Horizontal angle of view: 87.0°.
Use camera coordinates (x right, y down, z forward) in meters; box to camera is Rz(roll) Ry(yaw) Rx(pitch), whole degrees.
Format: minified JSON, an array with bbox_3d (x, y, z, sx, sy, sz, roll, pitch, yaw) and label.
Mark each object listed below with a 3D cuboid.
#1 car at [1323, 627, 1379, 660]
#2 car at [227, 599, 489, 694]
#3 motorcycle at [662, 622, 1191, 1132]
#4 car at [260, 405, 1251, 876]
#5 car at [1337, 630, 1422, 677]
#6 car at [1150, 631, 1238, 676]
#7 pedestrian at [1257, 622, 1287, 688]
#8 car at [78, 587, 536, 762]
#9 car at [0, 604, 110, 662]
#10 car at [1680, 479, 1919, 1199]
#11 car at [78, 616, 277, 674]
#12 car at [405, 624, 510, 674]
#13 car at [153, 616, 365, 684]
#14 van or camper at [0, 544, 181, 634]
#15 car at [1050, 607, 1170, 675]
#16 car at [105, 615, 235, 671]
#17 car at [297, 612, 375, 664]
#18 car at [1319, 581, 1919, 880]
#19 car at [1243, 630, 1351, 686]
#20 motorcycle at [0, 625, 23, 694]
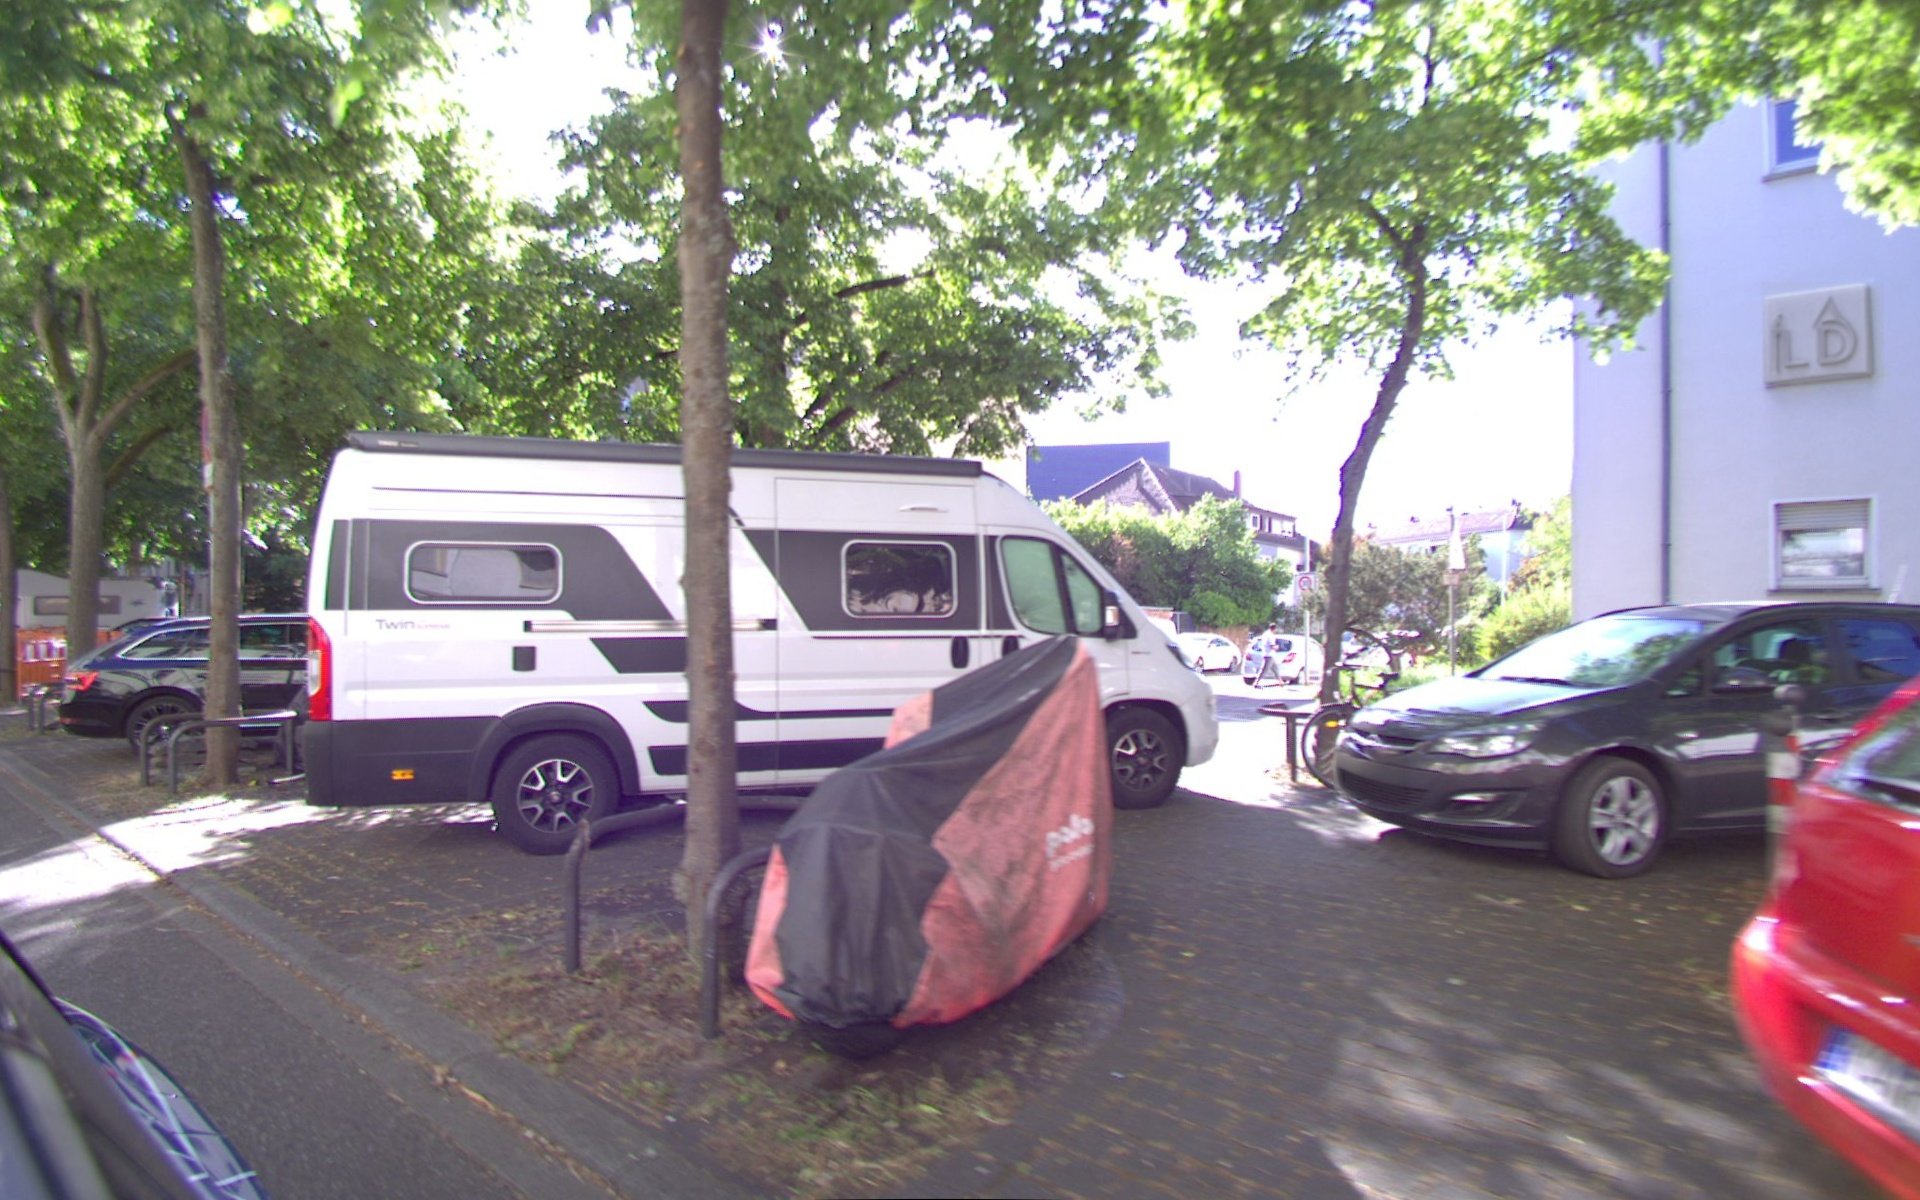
[{"bbox_3d":[19.226,2.167,49.709,1.603,1.538,3.817,-1,-3,37],"label":"car"},{"bbox_3d":[-11.232,0.883,19.205,4.062,1.638,1.704,2,-2,-27],"label":"car"},{"bbox_3d":[0.062,0.769,3.937,0.965,1.345,2.302,-1,-2,31],"label":"motorcycle"},{"bbox_3d":[-1.209,0.224,7.583,6.220,2.578,2.345,0,-1,-17],"label":"car"},{"bbox_3d":[15.047,1.872,36.204,1.652,1.582,3.945,-1,-2,41],"label":"car"},{"bbox_3d":[8.611,1.968,37.048,1.780,1.538,3.817,-1,-3,37],"label":"car"},{"bbox_3d":[7.882,1.381,25.569,0.556,1.652,0.483,-1,-3,41],"label":"pedestrian"},{"bbox_3d":[-7.098,0.750,11.513,4.030,1.537,1.707,-3,0,-19],"label":"car"},{"bbox_3d":[-41.669,1.453,44.528,6.094,2.530,2.145,1,-2,-22],"label":"car"},{"bbox_3d":[3.561,0.606,1.358,3.836,1.630,1.659,0,-2,9],"label":"car"},{"bbox_3d":[-21.293,1.235,27.702,3.932,1.530,1.675,1,-2,-16],"label":"car"},{"bbox_3d":[-17.033,1.623,34.242,4.110,1.571,1.701,-1,-2,41],"label":"car"},{"bbox_3d":[-16.016,1.135,23.371,3.846,1.472,1.582,1,-2,-29],"label":"car"},{"bbox_3d":[-31.697,-0.329,35.897,5.929,3.025,2.407,1,-2,-21],"label":"van or camper"},{"bbox_3d":[4.906,1.340,32.584,1.997,2.041,4.306,-1,-3,37],"label":"car"},{"bbox_3d":[-25.136,1.364,32.300,2.941,1.730,1.426,1,-2,-18],"label":"car"},{"bbox_3d":[-25.741,1.530,41.696,4.265,2.029,1.603,-1,-1,42],"label":"car"},{"bbox_3d":[4.611,0.691,6.285,4.071,1.497,1.837,0,-2,-8],"label":"car"},{"bbox_3d":[9.990,1.649,29.863,1.652,1.529,3.945,-1,-2,41],"label":"car"},{"bbox_3d":[-19.874,1.206,20.766,0.622,1.334,2.234,0,-1,-34],"label":"motorcycle"}]
